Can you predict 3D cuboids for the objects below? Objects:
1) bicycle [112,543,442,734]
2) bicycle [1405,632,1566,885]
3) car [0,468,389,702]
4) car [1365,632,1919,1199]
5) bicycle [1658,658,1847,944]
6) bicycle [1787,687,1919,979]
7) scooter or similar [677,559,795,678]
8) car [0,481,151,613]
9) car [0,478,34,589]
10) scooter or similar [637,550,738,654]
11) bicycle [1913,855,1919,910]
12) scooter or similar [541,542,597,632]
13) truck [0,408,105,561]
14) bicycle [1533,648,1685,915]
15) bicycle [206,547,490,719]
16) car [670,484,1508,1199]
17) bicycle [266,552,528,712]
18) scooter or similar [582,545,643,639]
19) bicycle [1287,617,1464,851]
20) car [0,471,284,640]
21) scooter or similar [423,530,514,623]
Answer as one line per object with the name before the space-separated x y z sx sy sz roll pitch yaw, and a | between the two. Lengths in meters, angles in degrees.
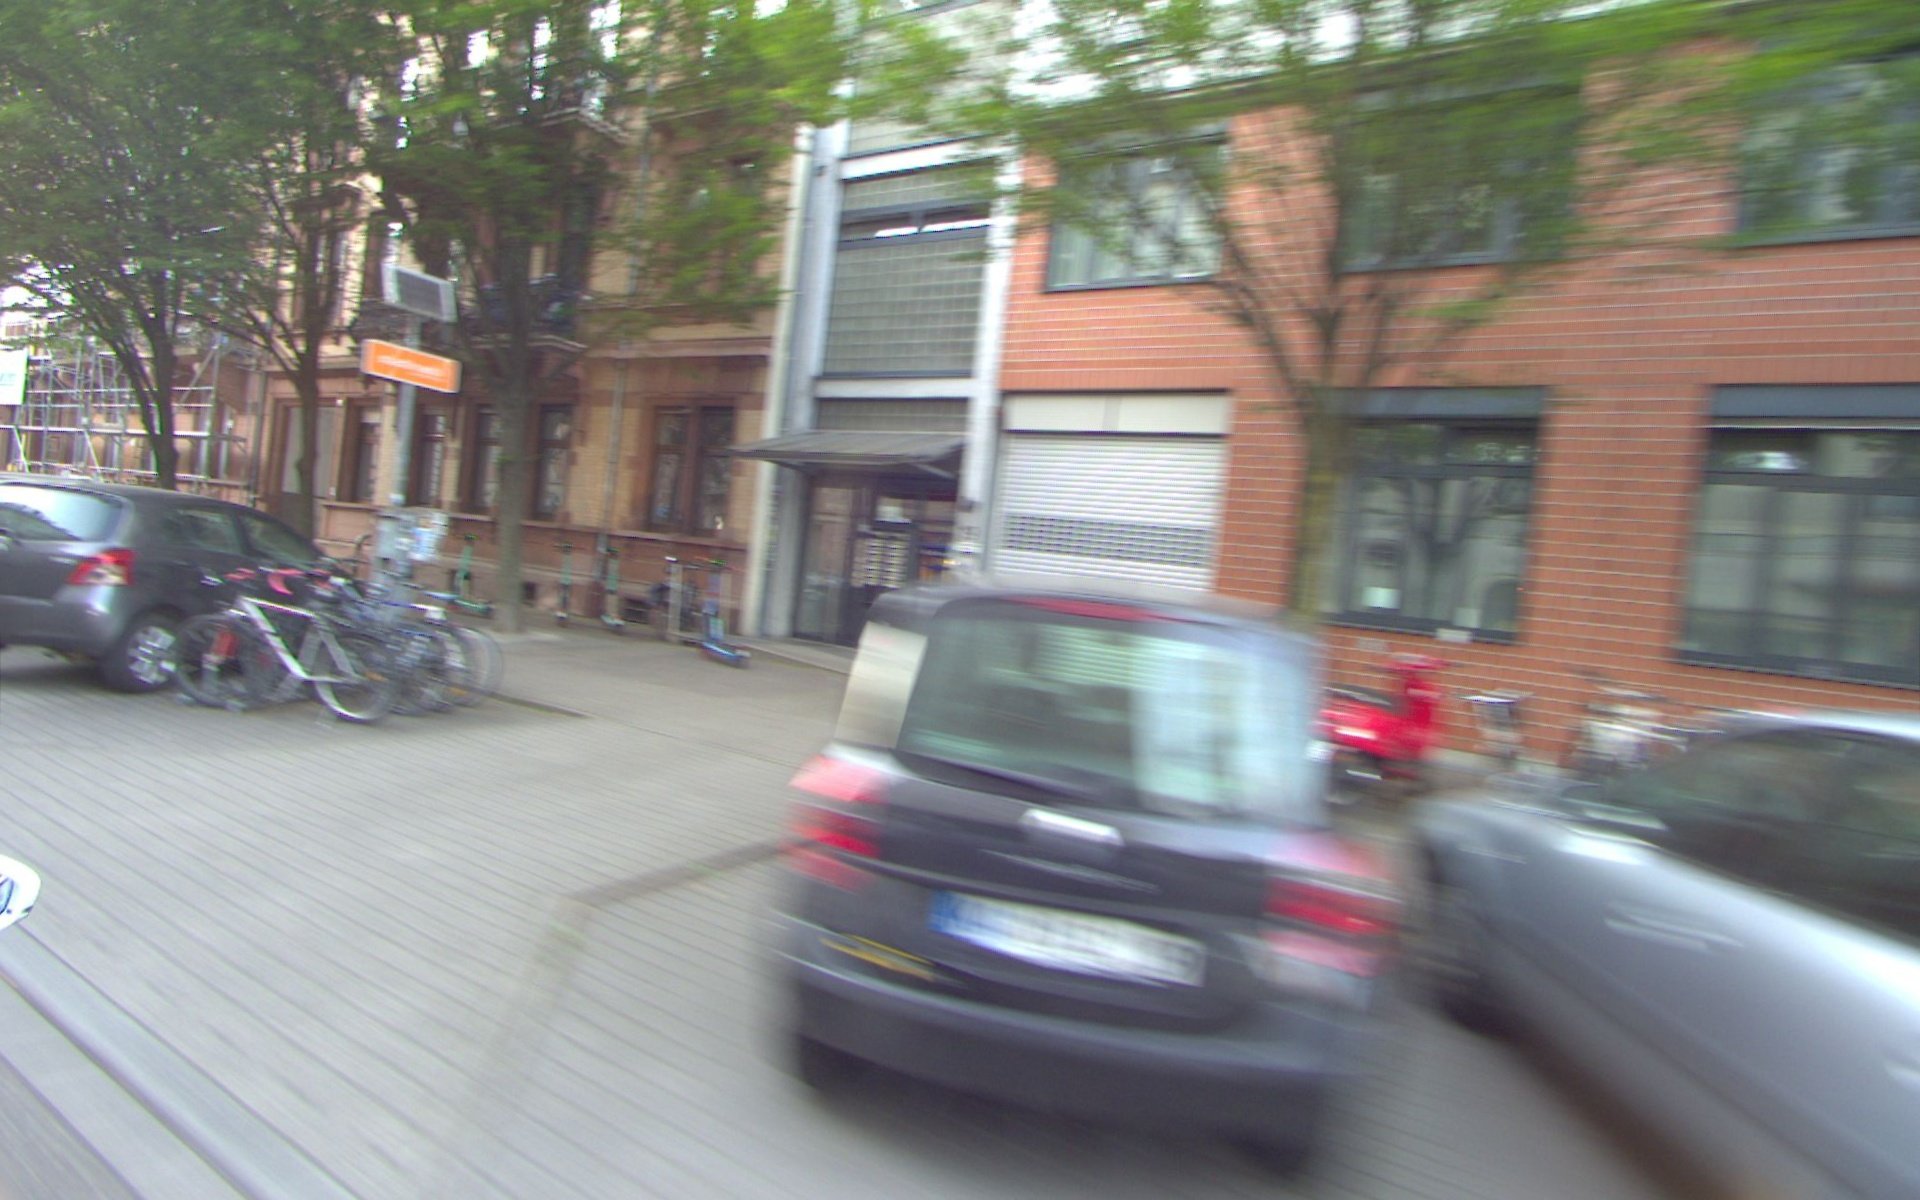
bicycle | -4.835 0.267 7.196 1.823 1.121 0.694 6 0 3
bicycle | 3.731 1.008 7.005 0.589 1.396 2.536 7 0 34
car | -6.784 -0.194 8.553 1.742 1.493 3.404 7 2 1
car | 2.670 1.004 2.454 1.773 1.553 4.387 7 0 5
bicycle | 4.886 1.124 6.349 0.589 1.396 2.536 7 0 34
bicycle | 5.511 1.253 5.926 0.589 1.396 2.536 7 0 34
scooter or similar | -2.680 0.176 11.904 1.751 1.236 0.465 7 8 43
car | -11.713 -0.690 11.560 1.731 1.455 3.833 7 1 -3
car | -14.142 -1.041 12.640 1.610 1.549 3.889 7 -1 -7
scooter or similar | -3.672 0.005 13.466 1.751 1.235 0.410 7 4 43
bicycle | 6.049 1.305 5.545 0.589 1.396 2.536 7 0 34
scooter or similar | -5.869 -0.217 15.058 0.366 1.234 1.605 3 3 -34
truck | -21.920 -2.705 20.496 2.228 3.011 6.328 4 -2 33
bicycle | 4.351 1.062 6.724 0.589 1.263 2.530 7 5 34
bicycle | -4.780 0.256 7.910 1.823 1.121 0.559 6 0 3
car | 0.623 0.667 4.249 1.725 1.657 4.000 7 1 12
bicycle | -4.721 0.262 8.492 1.823 1.121 0.559 6 0 3
scooter or similar | -5.061 -0.143 14.594 0.366 1.234 1.687 3 3 -34
bicycle | 3.155 0.921 7.450 0.589 1.396 2.536 7 0 34
car | -9.534 -0.503 10.692 1.729 1.550 3.836 6 1 6
scooter or similar | -7.543 -0.364 15.426 1.328 1.258 0.512 7 2 30
